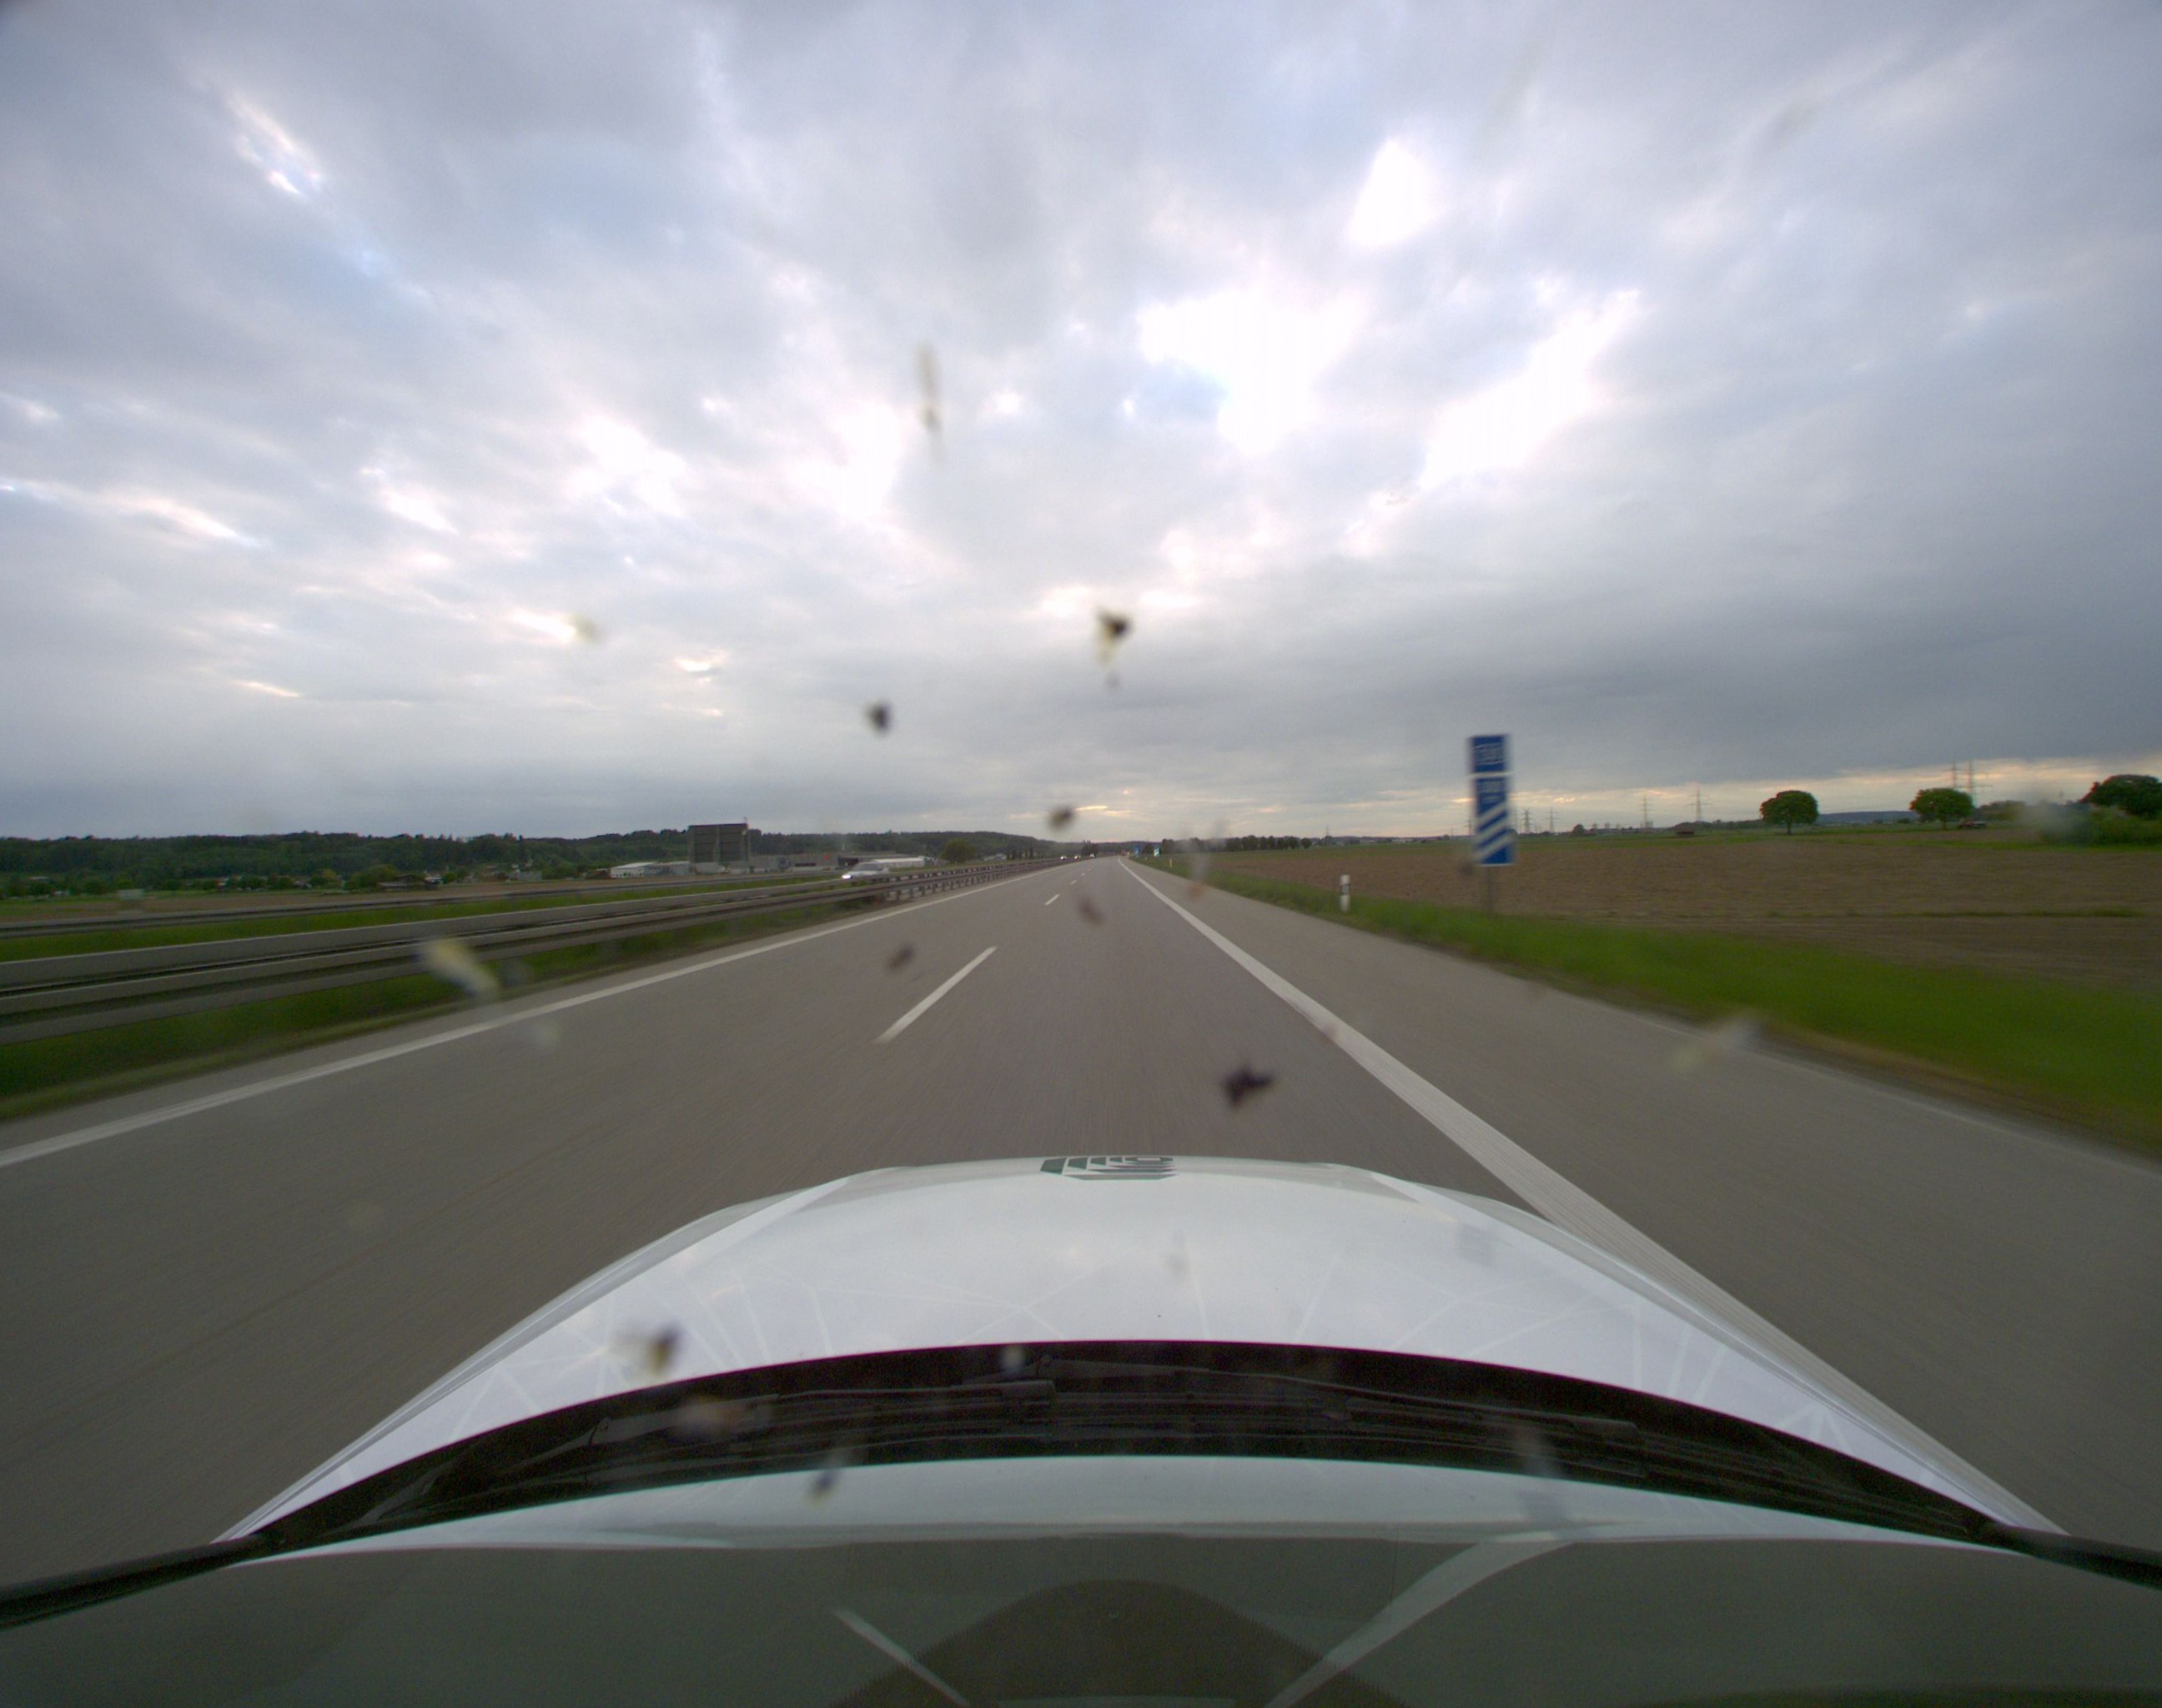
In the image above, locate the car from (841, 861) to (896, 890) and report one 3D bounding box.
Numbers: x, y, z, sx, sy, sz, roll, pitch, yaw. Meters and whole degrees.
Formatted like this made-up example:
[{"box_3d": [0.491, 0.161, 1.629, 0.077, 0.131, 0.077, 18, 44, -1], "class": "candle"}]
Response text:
[{"box_3d": [-12.240, 1.219, 47.214, 1.734, 1.574, 4.858, 0, 0, 2], "class": "car"}]
